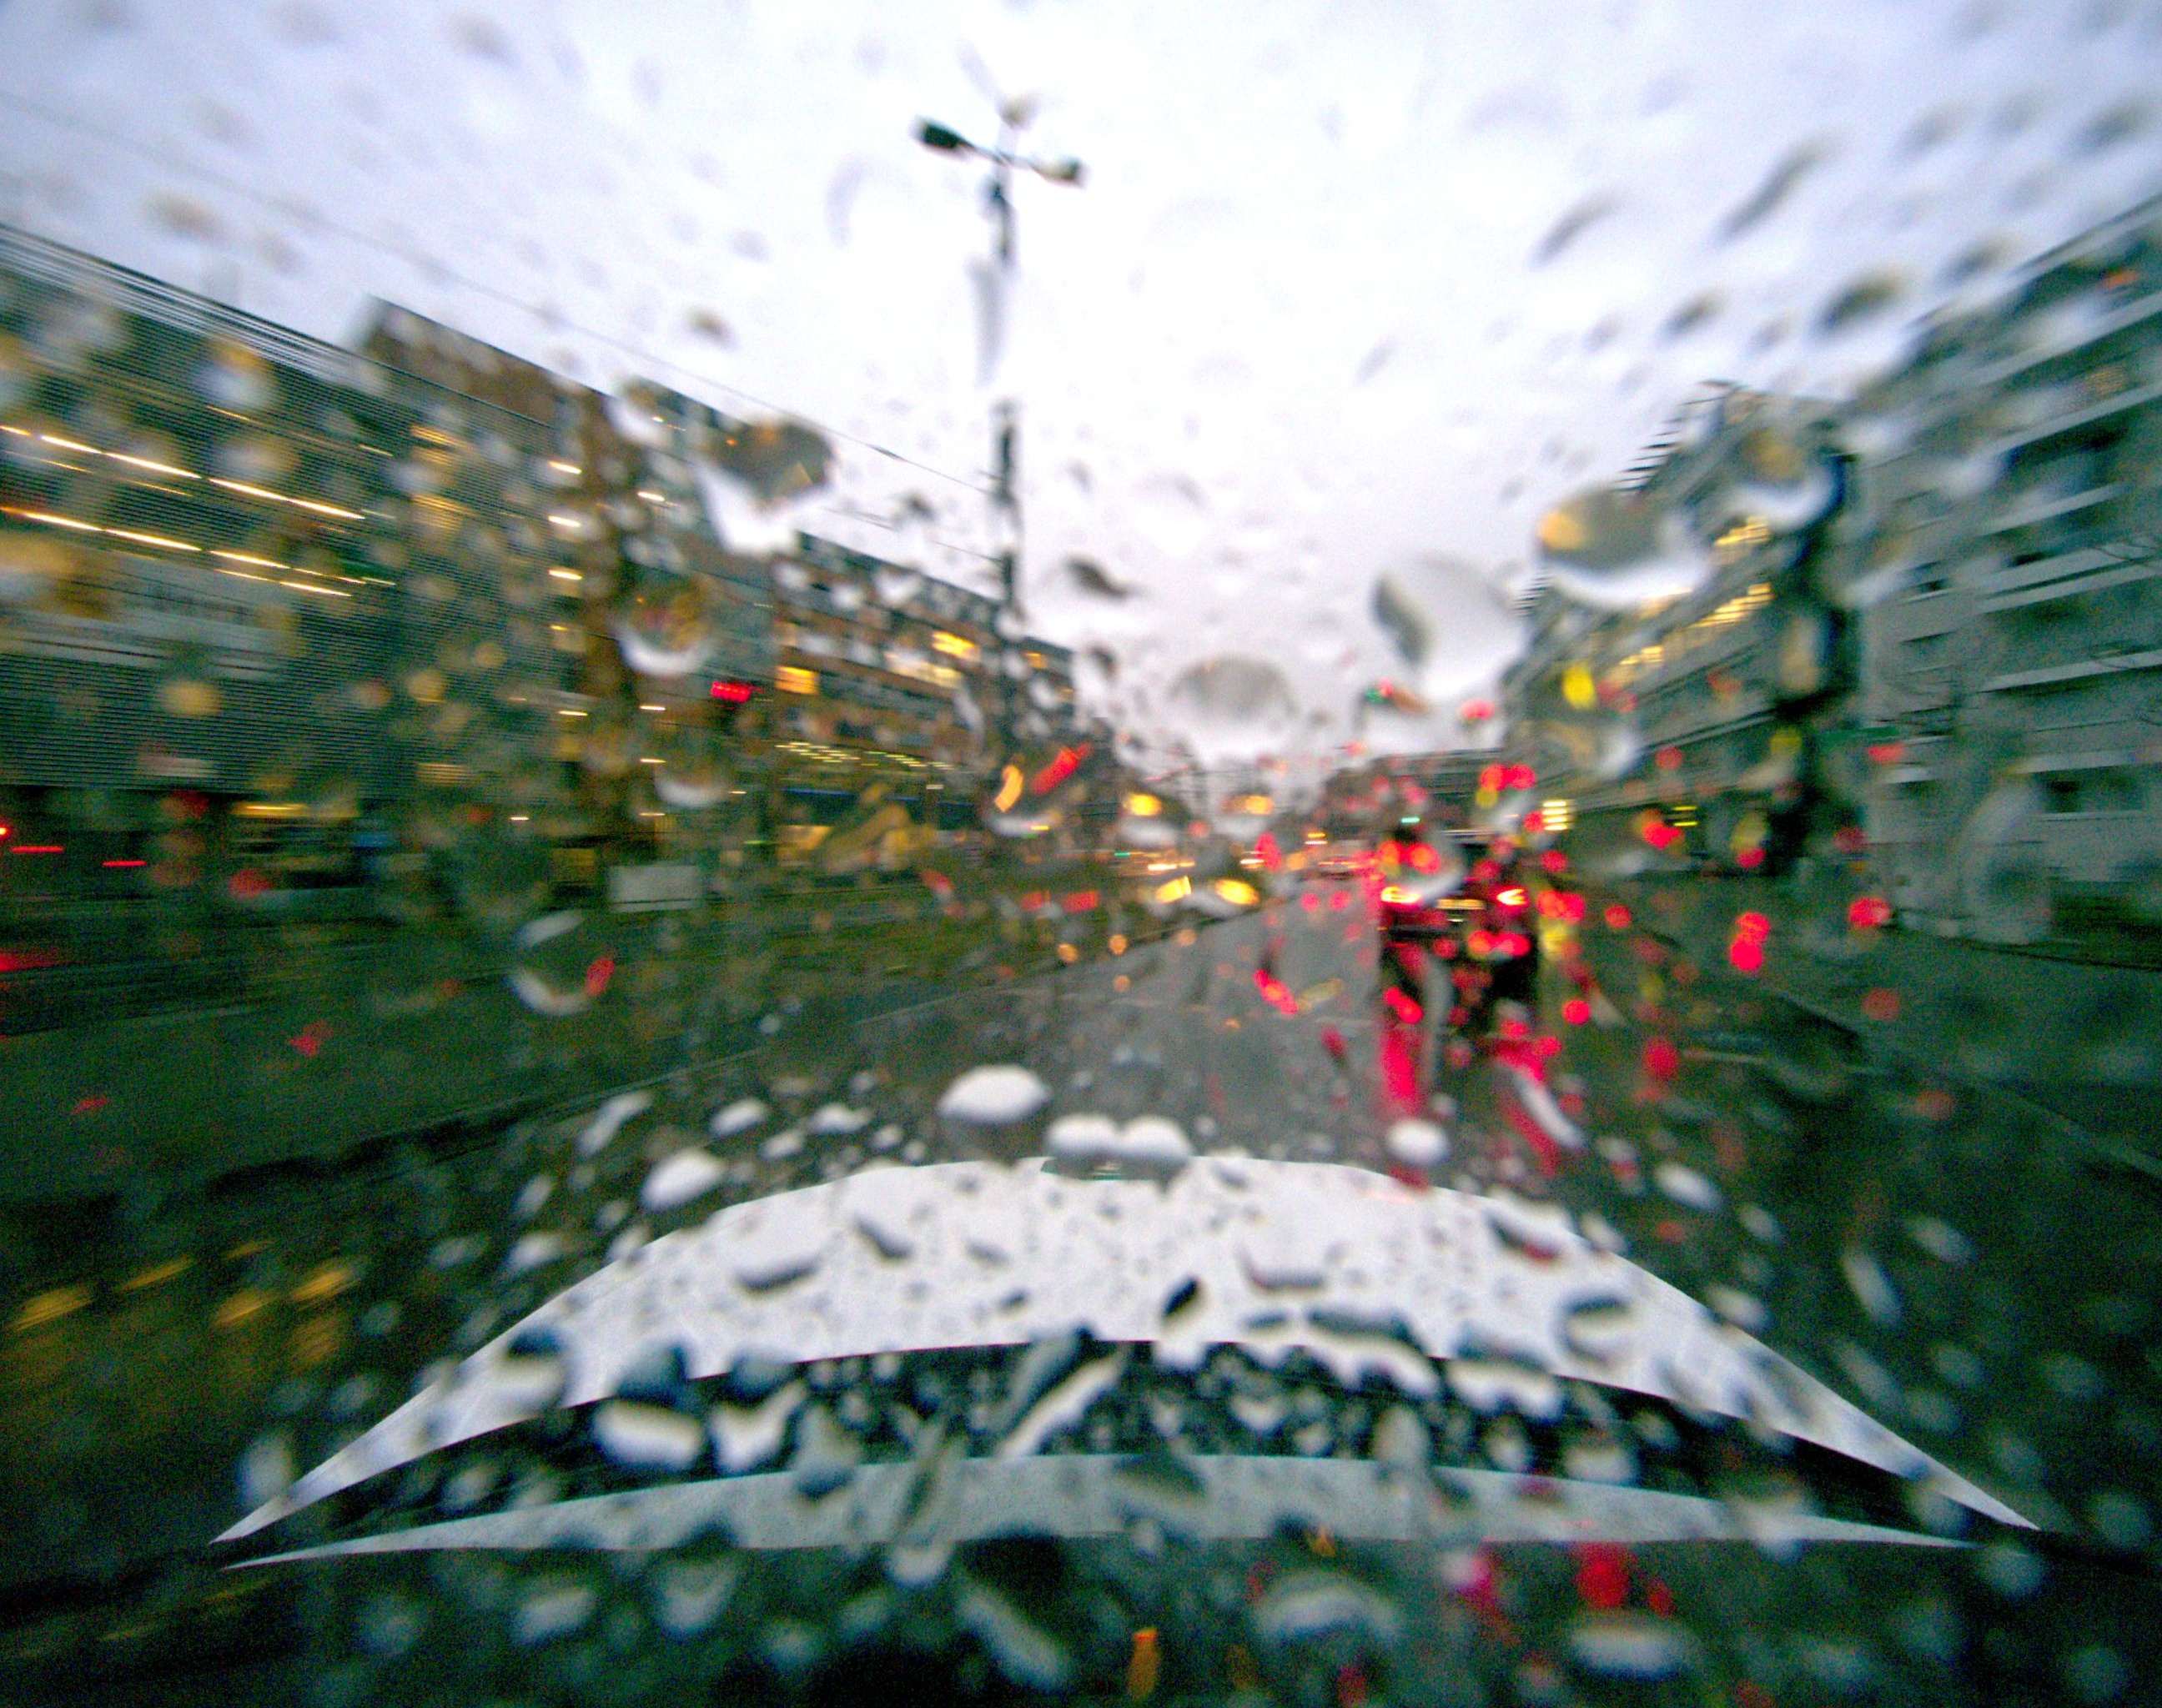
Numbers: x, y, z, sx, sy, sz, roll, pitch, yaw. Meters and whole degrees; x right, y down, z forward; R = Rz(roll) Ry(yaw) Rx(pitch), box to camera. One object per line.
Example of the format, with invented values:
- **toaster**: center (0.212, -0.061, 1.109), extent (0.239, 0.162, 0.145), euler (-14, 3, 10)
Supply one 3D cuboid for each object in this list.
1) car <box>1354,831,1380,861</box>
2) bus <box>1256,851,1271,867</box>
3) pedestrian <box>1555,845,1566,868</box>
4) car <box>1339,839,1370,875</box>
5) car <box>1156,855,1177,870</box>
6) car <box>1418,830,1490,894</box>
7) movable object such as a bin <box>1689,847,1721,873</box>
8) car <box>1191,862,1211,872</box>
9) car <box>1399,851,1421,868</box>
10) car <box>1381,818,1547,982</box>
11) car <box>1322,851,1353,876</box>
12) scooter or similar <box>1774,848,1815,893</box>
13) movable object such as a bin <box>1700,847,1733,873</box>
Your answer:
- **car**: center (28.641, -0.713, 81.507), extent (2.335, 2.827, 6.390), euler (-1, -1, 19)
- **bus**: center (39.436, 1.037, 176.016), extent (2.806, 3.372, 8.021), euler (-1, -1, 9)
- **pedestrian**: center (35.818, 0.197, 60.842), extent (0.526, 1.683, 0.749), euler (-1, -1, 22)
- **car**: center (19.992, 0.222, 59.615), extent (1.977, 2.427, 6.002), euler (-1, -1, 18)
- **car**: center (8.793, 0.853, 83.693), extent (1.803, 1.442, 3.967), euler (-1, -1, 10)
- **car**: center (11.506, 0.250, 25.357), extent (1.827, 1.806, 4.511), euler (-1, 0, 23)
- **movable object such as a bin**: center (32.924, 0.310, 42.975), extent (0.838, 1.294, 1.172), euler (-3, -1, 12)
- **car**: center (16.755, 1.805, 113.759), extent (1.714, 1.393, 4.221), euler (-1, -1, 22)
- **car**: center (26.033, 0.447, 64.379), extent (1.498, 1.306, 3.057), euler (-1, -1, 23)
- **car**: center (5.100, 0.516, 11.047), extent (1.659, 1.779, 4.022), euler (-1, -1, 24)
- **car**: center (16.250, 0.563, 51.525), extent (1.624, 1.496, 3.704), euler (-1, 0, 21)
- **scooter or similar**: center (20.202, 0.470, 23.082), extent (0.661, 1.227, 1.566), euler (-2, -2, 34)
- **movable object such as a bin**: center (32.609, 0.313, 41.779), extent (0.838, 1.294, 1.172), euler (-3, -1, 12)
